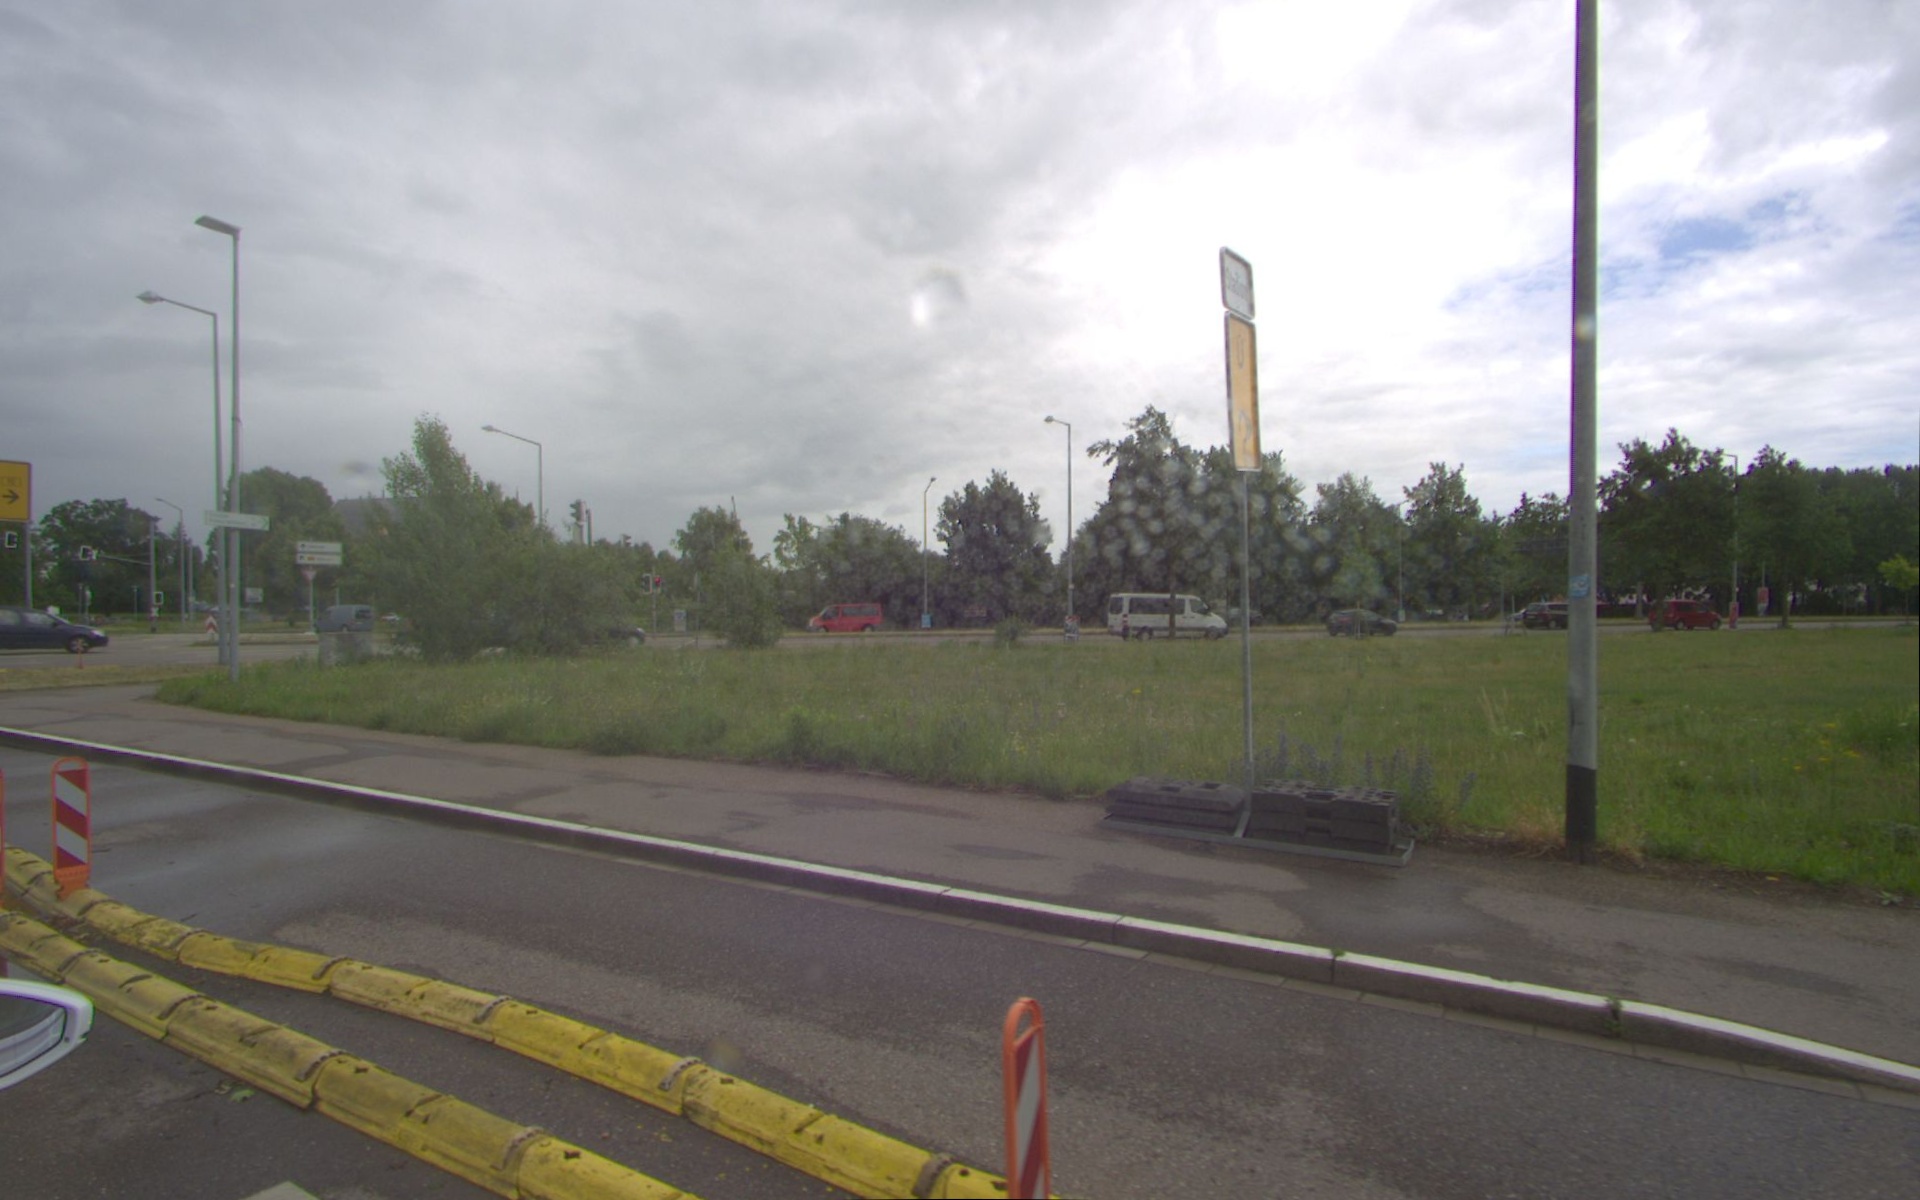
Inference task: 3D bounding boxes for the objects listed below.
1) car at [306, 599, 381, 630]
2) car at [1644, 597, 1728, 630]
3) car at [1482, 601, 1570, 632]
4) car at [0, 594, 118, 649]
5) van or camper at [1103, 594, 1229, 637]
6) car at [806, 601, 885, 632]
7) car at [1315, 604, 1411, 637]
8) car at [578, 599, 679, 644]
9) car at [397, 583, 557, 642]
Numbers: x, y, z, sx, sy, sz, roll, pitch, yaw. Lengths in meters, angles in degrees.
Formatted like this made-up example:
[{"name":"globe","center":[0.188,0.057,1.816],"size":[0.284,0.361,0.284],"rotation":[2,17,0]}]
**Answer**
[{"name":"car","center":[-41.871,0.973,68.067],"size":[4.398,2.040,1.996],"rotation":[0,0,19]},{"name":"car","center":[44.155,0.805,60.946],"size":[4.135,1.943,2.111],"rotation":[0,0,-18]},{"name":"car","center":[34.774,0.996,61.569],"size":[4.525,1.819,2.112],"rotation":[0,0,-15]},{"name":"car","center":[-31.969,0.724,34.625],"size":[2.055,1.838,4.172],"rotation":[0,0,42]},{"name":"van or camper","center":[10.016,0.735,48.756],"size":[5.789,2.040,1.996],"rotation":[0,0,-16]},{"name":"car","center":[-7.347,1.036,64.021],"size":[4.802,1.943,2.112],"rotation":[0,0,-15]},{"name":"car","center":[22.381,1.115,55.638],"size":[4.522,1.819,2.113],"rotation":[0,0,-11]},{"name":"car","center":[-14.122,0.902,42.829],"size":[3.927,1.873,1.997],"rotation":[0,0,-14]},{"name":"car","center":[-17.159,0.433,35.903],"size":[4.957,1.998,2.217],"rotation":[0,0,-21]}]
